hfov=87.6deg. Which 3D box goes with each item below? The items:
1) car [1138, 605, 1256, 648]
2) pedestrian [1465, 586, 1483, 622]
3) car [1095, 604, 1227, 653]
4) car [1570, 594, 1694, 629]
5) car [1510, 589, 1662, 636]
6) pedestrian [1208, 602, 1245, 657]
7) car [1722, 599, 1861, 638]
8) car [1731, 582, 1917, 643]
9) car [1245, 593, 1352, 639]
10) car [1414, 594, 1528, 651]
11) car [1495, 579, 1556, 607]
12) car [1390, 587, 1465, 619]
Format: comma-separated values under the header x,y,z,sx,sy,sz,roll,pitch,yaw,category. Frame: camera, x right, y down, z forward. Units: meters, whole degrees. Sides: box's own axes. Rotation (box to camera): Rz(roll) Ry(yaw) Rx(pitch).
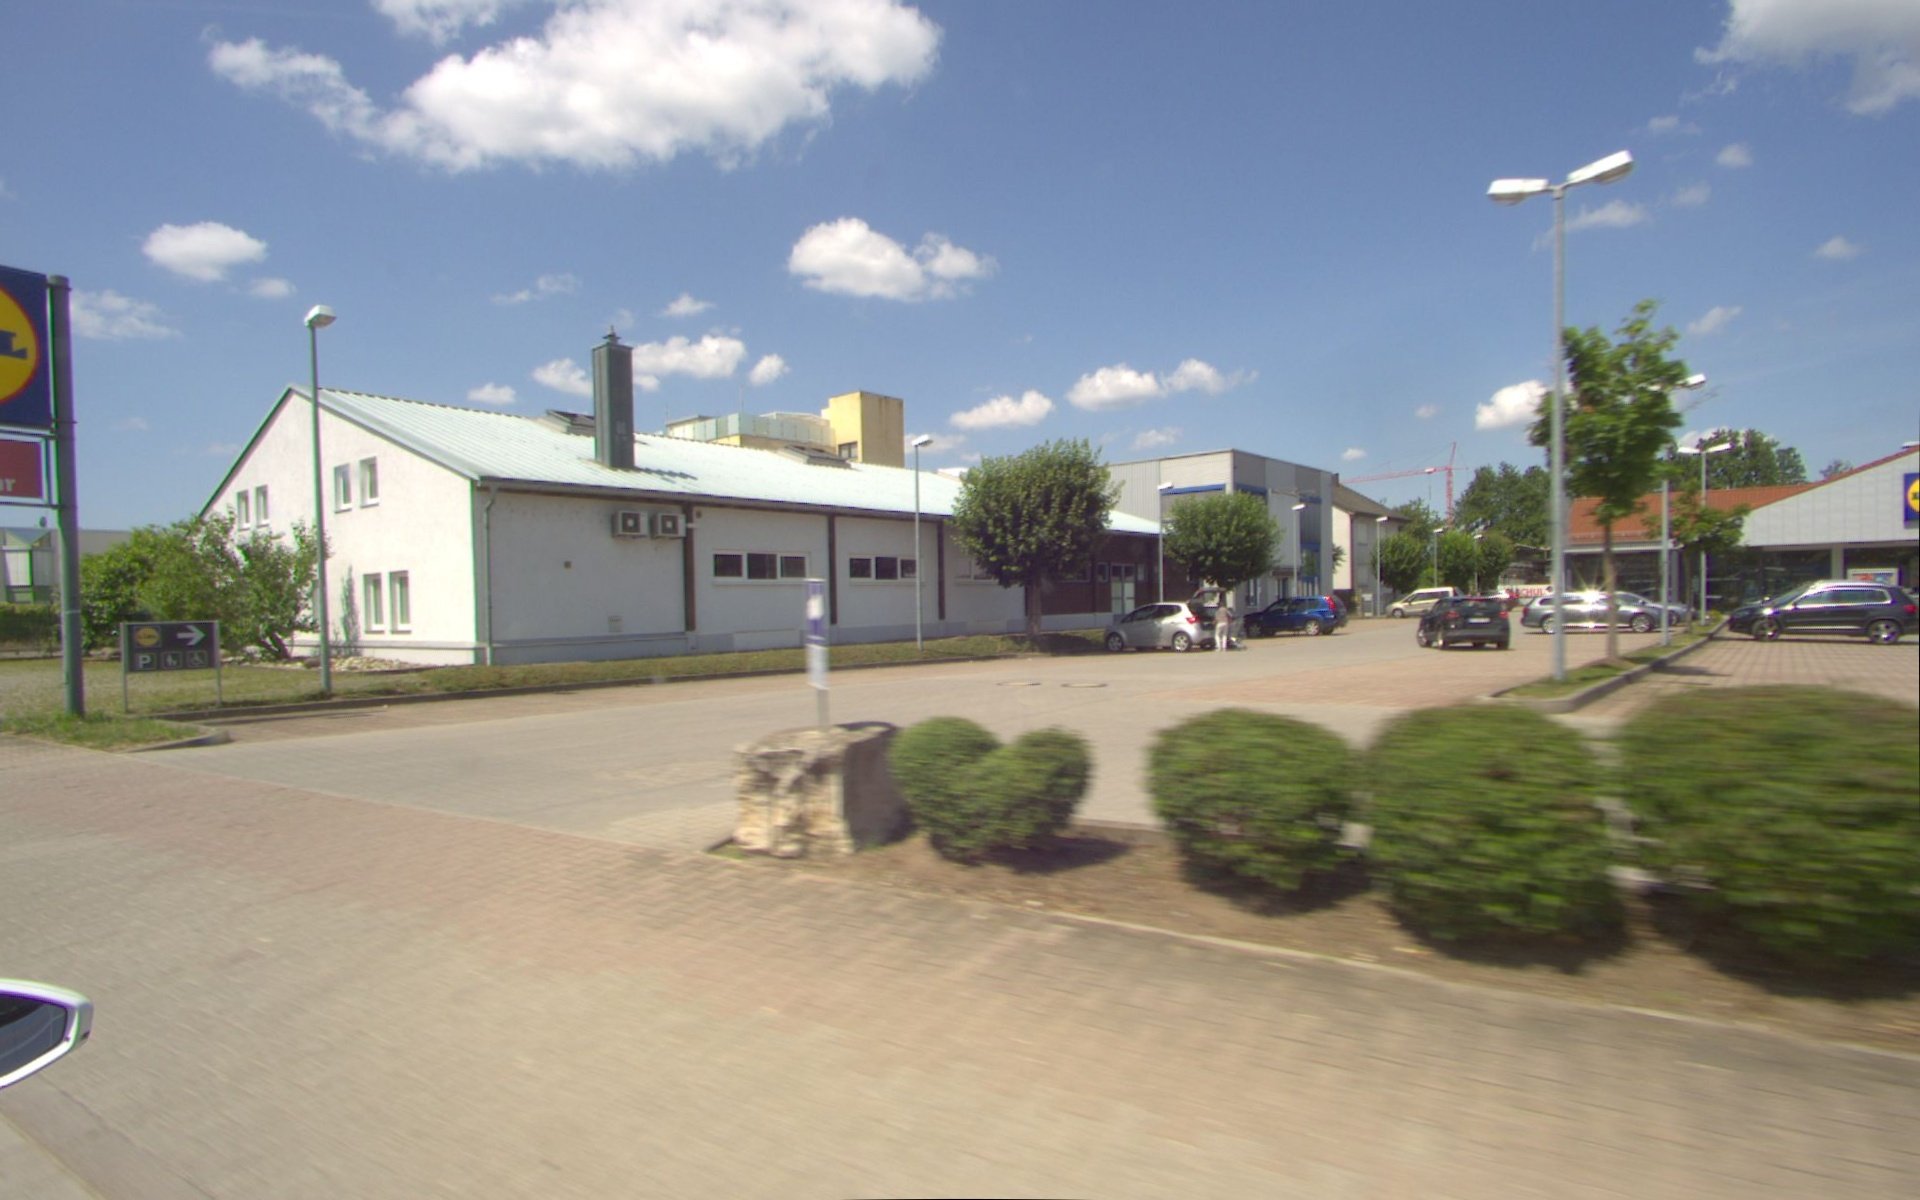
x,y,z,sx,sy,sz,roll,pitch,yaw,category
8.229,0.924,34.918,3.700,1.443,1.580,-1,-1,39,car
31.024,0.244,60.416,0.900,2.134,0.866,-1,0,32,pedestrian
6.580,0.899,32.995,3.856,1.518,1.879,-1,0,41,car
26.259,0.466,39.284,3.943,1.326,1.577,-1,0,32,car
22.683,0.469,36.380,4.563,1.614,1.573,-1,0,39,car
8.357,0.930,31.400,0.724,1.659,0.774,-3,0,-45,pedestrian
32.112,0.717,38.823,3.943,1.429,1.577,-1,0,32,car
24.784,0.366,28.857,3.956,1.652,1.572,-1,0,42,car
14.648,0.701,43.390,3.941,1.730,1.879,-4,-1,39,car
14.634,0.621,28.942,1.962,1.514,3.997,-1,0,12,car
43.420,-0.495,76.857,3.946,2.040,1.988,-1,0,35,car
29.053,0.238,62.268,3.929,1.790,1.809,-3,-2,35,car
